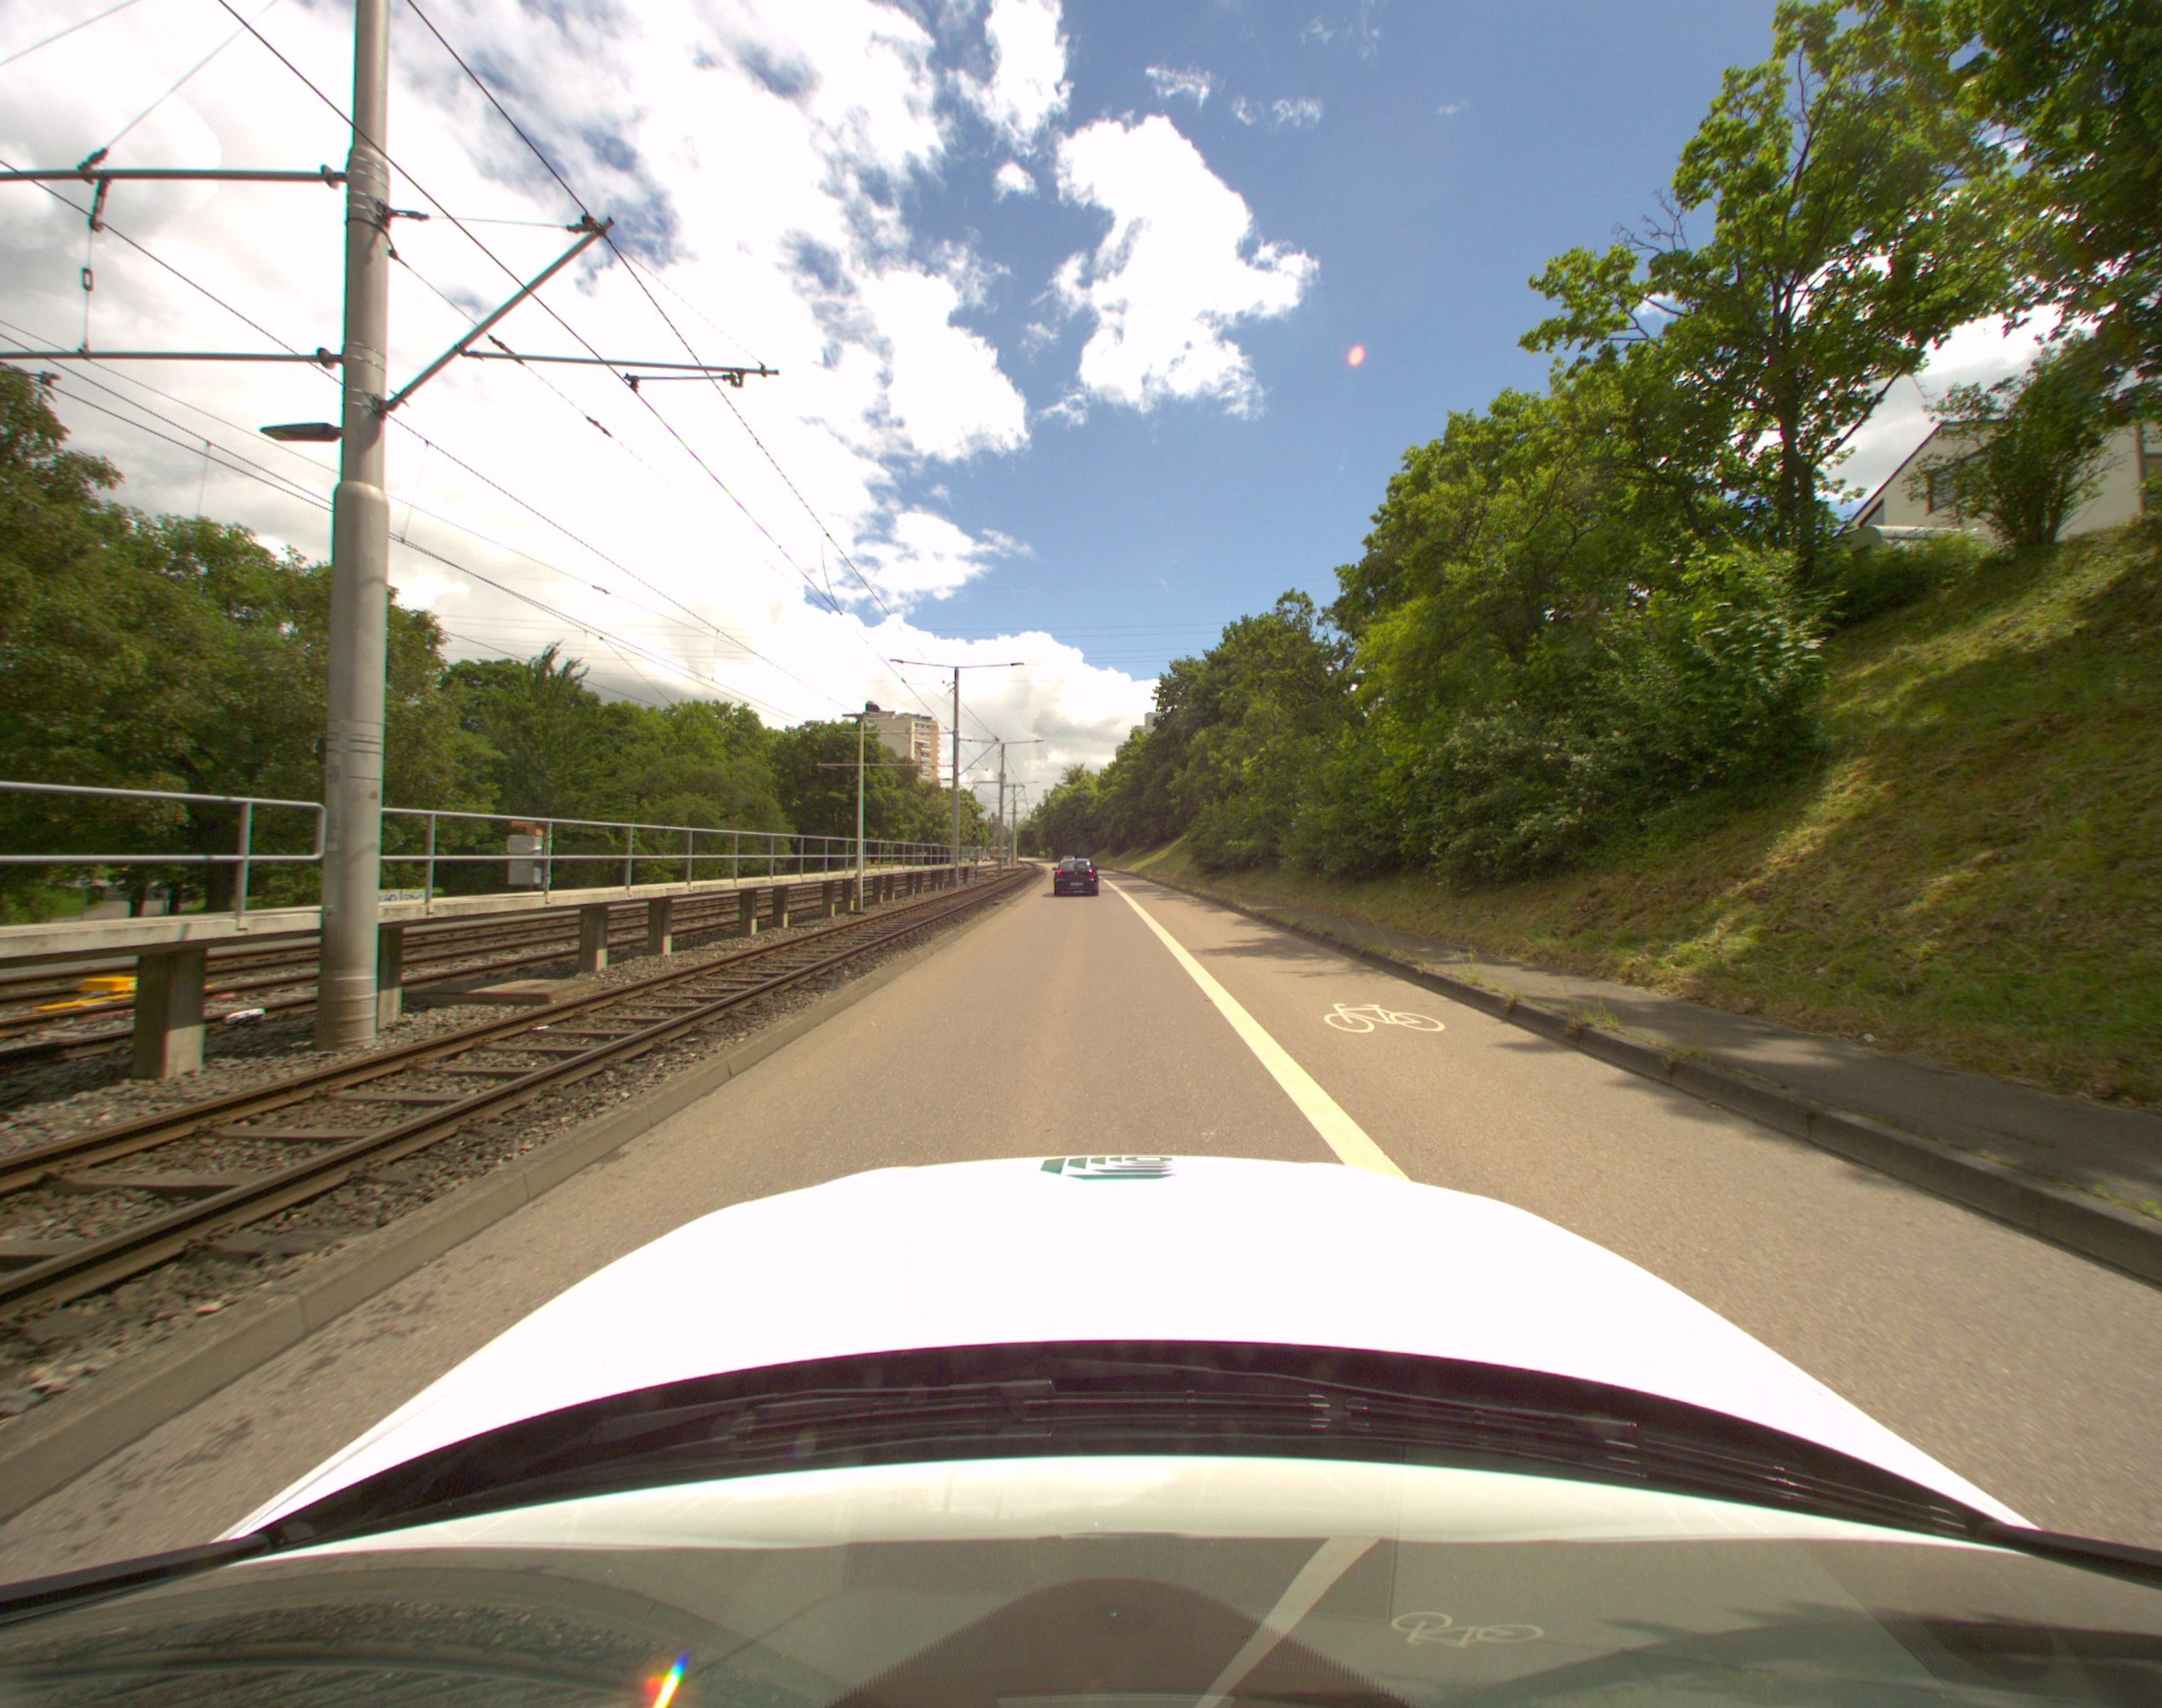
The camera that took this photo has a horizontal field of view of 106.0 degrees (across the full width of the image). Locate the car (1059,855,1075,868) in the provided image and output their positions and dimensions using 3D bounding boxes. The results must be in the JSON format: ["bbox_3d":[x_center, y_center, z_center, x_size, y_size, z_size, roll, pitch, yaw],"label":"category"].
[{"bbox_3d":[-1.638,0.848,94.585,1.776,1.460,3.919,0,0,-1],"label":"car"}]

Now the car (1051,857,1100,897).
[{"bbox_3d":[-0.183,0.848,32.134,1.775,1.459,3.921,-1,0,0],"label":"car"}]

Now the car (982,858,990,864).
[{"bbox_3d":[-22.906,1.647,195.750,1.773,1.498,3.985,0,0,-8],"label":"car"}]

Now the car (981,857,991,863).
[{"bbox_3d":[-22.889,1.436,196.540,1.831,1.391,4.857,-2,0,-2],"label":"car"}]
